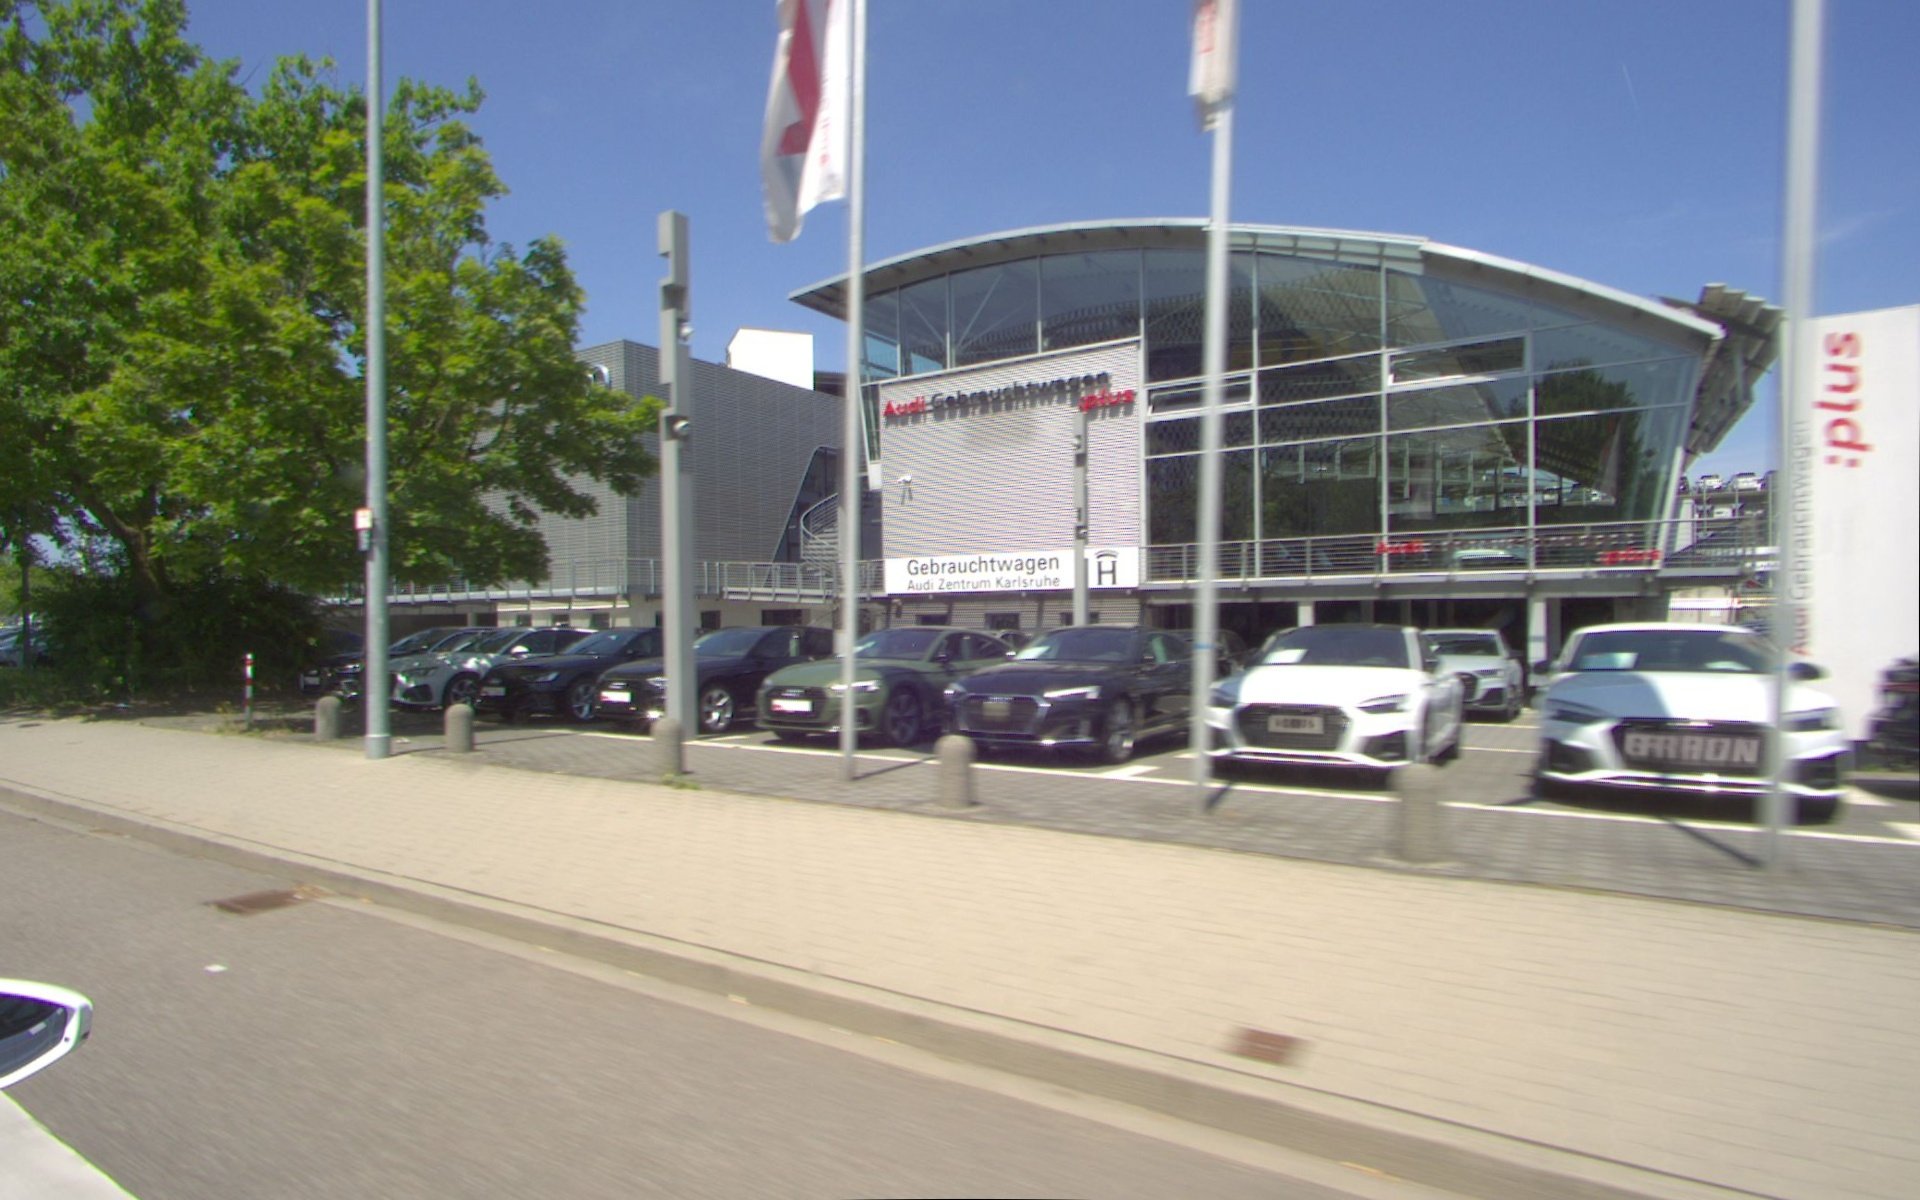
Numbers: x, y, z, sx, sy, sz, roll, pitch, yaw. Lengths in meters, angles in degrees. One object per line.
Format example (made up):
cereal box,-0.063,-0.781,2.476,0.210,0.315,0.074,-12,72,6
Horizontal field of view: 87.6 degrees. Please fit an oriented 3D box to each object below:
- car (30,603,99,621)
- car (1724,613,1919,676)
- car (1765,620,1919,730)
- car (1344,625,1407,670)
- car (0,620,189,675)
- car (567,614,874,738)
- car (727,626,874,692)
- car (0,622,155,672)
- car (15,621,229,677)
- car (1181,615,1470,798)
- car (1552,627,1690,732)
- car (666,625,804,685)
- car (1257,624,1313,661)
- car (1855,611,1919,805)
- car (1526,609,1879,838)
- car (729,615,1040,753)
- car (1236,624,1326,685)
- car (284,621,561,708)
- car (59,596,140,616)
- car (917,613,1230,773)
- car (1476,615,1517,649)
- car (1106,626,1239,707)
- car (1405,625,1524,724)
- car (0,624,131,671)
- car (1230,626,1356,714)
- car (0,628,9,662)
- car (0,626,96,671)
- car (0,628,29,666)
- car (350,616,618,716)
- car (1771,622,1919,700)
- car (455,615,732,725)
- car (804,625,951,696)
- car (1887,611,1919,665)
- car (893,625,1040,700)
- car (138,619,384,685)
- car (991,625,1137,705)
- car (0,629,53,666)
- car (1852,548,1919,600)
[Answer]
car,-66.871,0.899,74.825,1.519,1.255,3.521,-1,-3,30
car,20.420,1.011,23.575,3.768,1.364,1.669,-1,-1,34
car,14.637,1.081,14.371,4.653,1.534,1.870,-1,-3,36
car,15.742,1.790,37.865,1.619,1.629,3.642,-1,-3,32
car,-25.649,1.440,29.491,1.890,1.424,4.217,-1,-5,32
car,-3.188,1.016,14.137,1.842,1.471,4.095,-1,-3,32
car,-4.309,1.598,27.579,1.824,1.675,3.980,-1,-3,32
car,-27.750,1.468,30.824,1.890,1.424,4.216,-1,-4,32
car,-23.513,1.425,28.255,1.890,1.424,4.217,-1,-5,32
car,3.725,0.909,9.722,1.842,1.365,4.094,-1,-3,32
car,11.549,1.339,17.642,1.824,1.618,3.980,-1,-3,32
car,-6.416,1.593,28.960,1.617,1.603,3.893,-1,-3,32
car,14.865,1.950,45.730,1.619,1.629,3.642,-1,-3,32
car,9.449,0.798,6.938,4.599,1.437,1.859,-1,-3,34
car,5.858,0.862,8.301,1.848,1.381,4.090,-1,-3,32
car,-0.757,0.986,12.603,1.842,1.422,4.095,-1,-3,32
car,9.239,1.552,28.703,1.619,1.629,3.642,-1,-3,32
car,-9.871,1.169,18.717,1.790,1.419,4.226,-1,-3,32
car,-60.611,0.425,70.613,1.770,1.329,3.984,-1,-1,28
car,1.467,0.941,11.145,1.842,1.407,4.220,-1,-3,32
car,26.978,1.637,50.298,1.589,1.629,3.507,-1,-3,32
car,4.729,1.427,21.879,1.610,1.592,3.977,-1,-3,32
car,9.535,1.353,18.788,1.633,1.642,3.980,-1,-3,32
car,-29.726,1.546,32.241,1.960,1.386,4.217,-1,-5,32
car,6.832,1.381,20.321,1.619,1.600,3.642,-1,-3,32
car,-40.496,1.711,39.317,1.890,1.358,4.217,-1,-5,32
car,-32.005,1.605,33.645,1.753,1.396,4.128,-1,-6,32
car,-38.526,1.723,38.043,1.890,1.470,4.217,-1,-5,32
car,-7.863,1.081,16.838,1.808,1.471,3.677,-1,-3,32
car,19.742,1.258,21.113,3.946,1.560,1.846,-1,-1,34
car,-5.501,1.045,15.435,1.808,1.471,3.677,-1,-3,32
car,-2.058,1.560,26.142,1.824,1.675,3.980,-1,-3,32
car,30.203,1.122,30.405,3.938,1.591,1.842,0,-1,-28
car,0.249,1.522,24.697,1.824,1.675,3.980,-1,-3,32
car,-16.586,1.296,24.004,1.808,1.409,4.445,-1,-5,32
car,2.497,1.484,23.277,1.824,1.675,3.980,-1,-3,32
car,-36.330,1.700,36.666,1.890,1.358,4.217,-1,-5,32
car,33.340,-0.870,35.606,1.888,1.730,4.560,-1,0,35
